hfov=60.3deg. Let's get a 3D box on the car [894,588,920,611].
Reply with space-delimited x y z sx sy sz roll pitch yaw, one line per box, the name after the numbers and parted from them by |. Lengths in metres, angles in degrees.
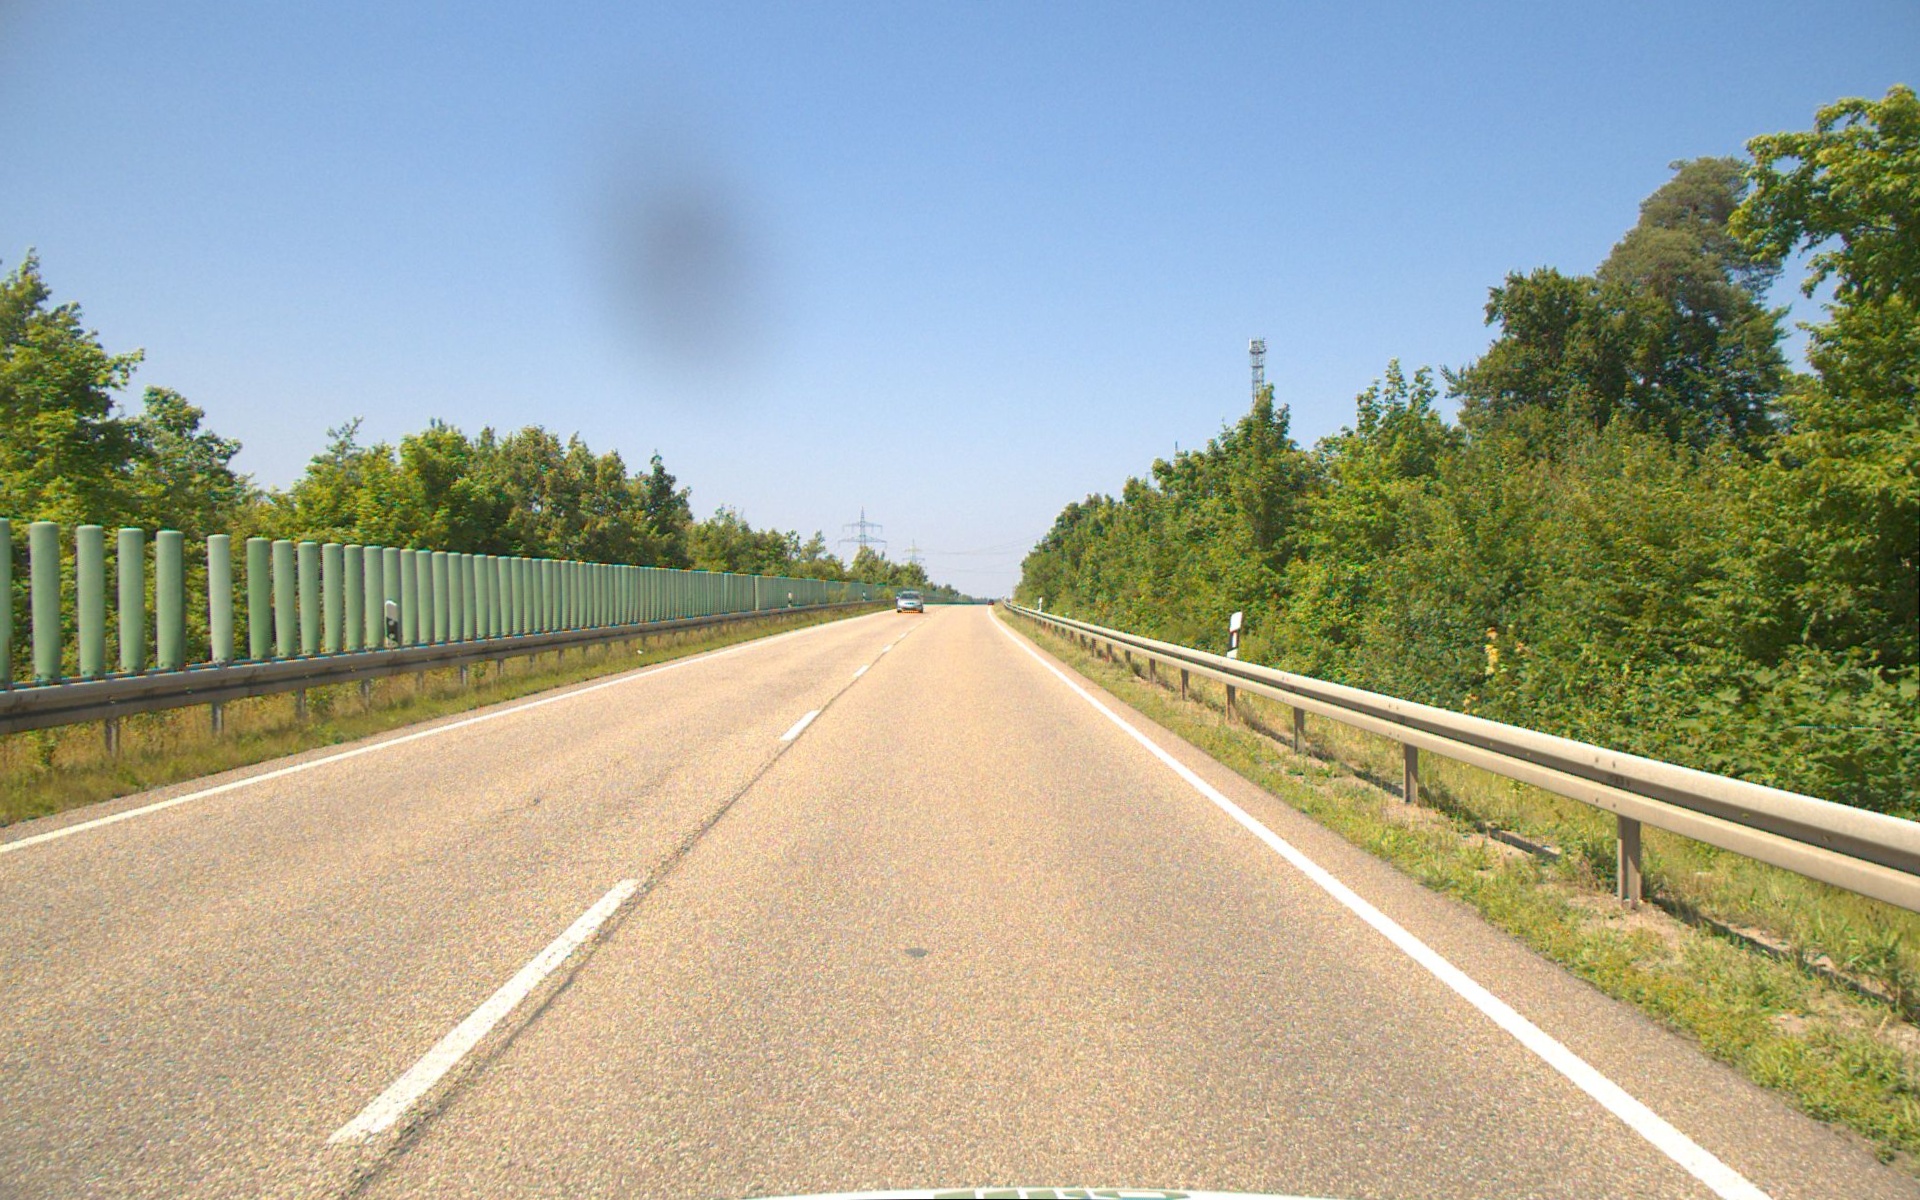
-3.675 -0.060 114.781 1.685 1.527 4.248 1 0 0 | car
